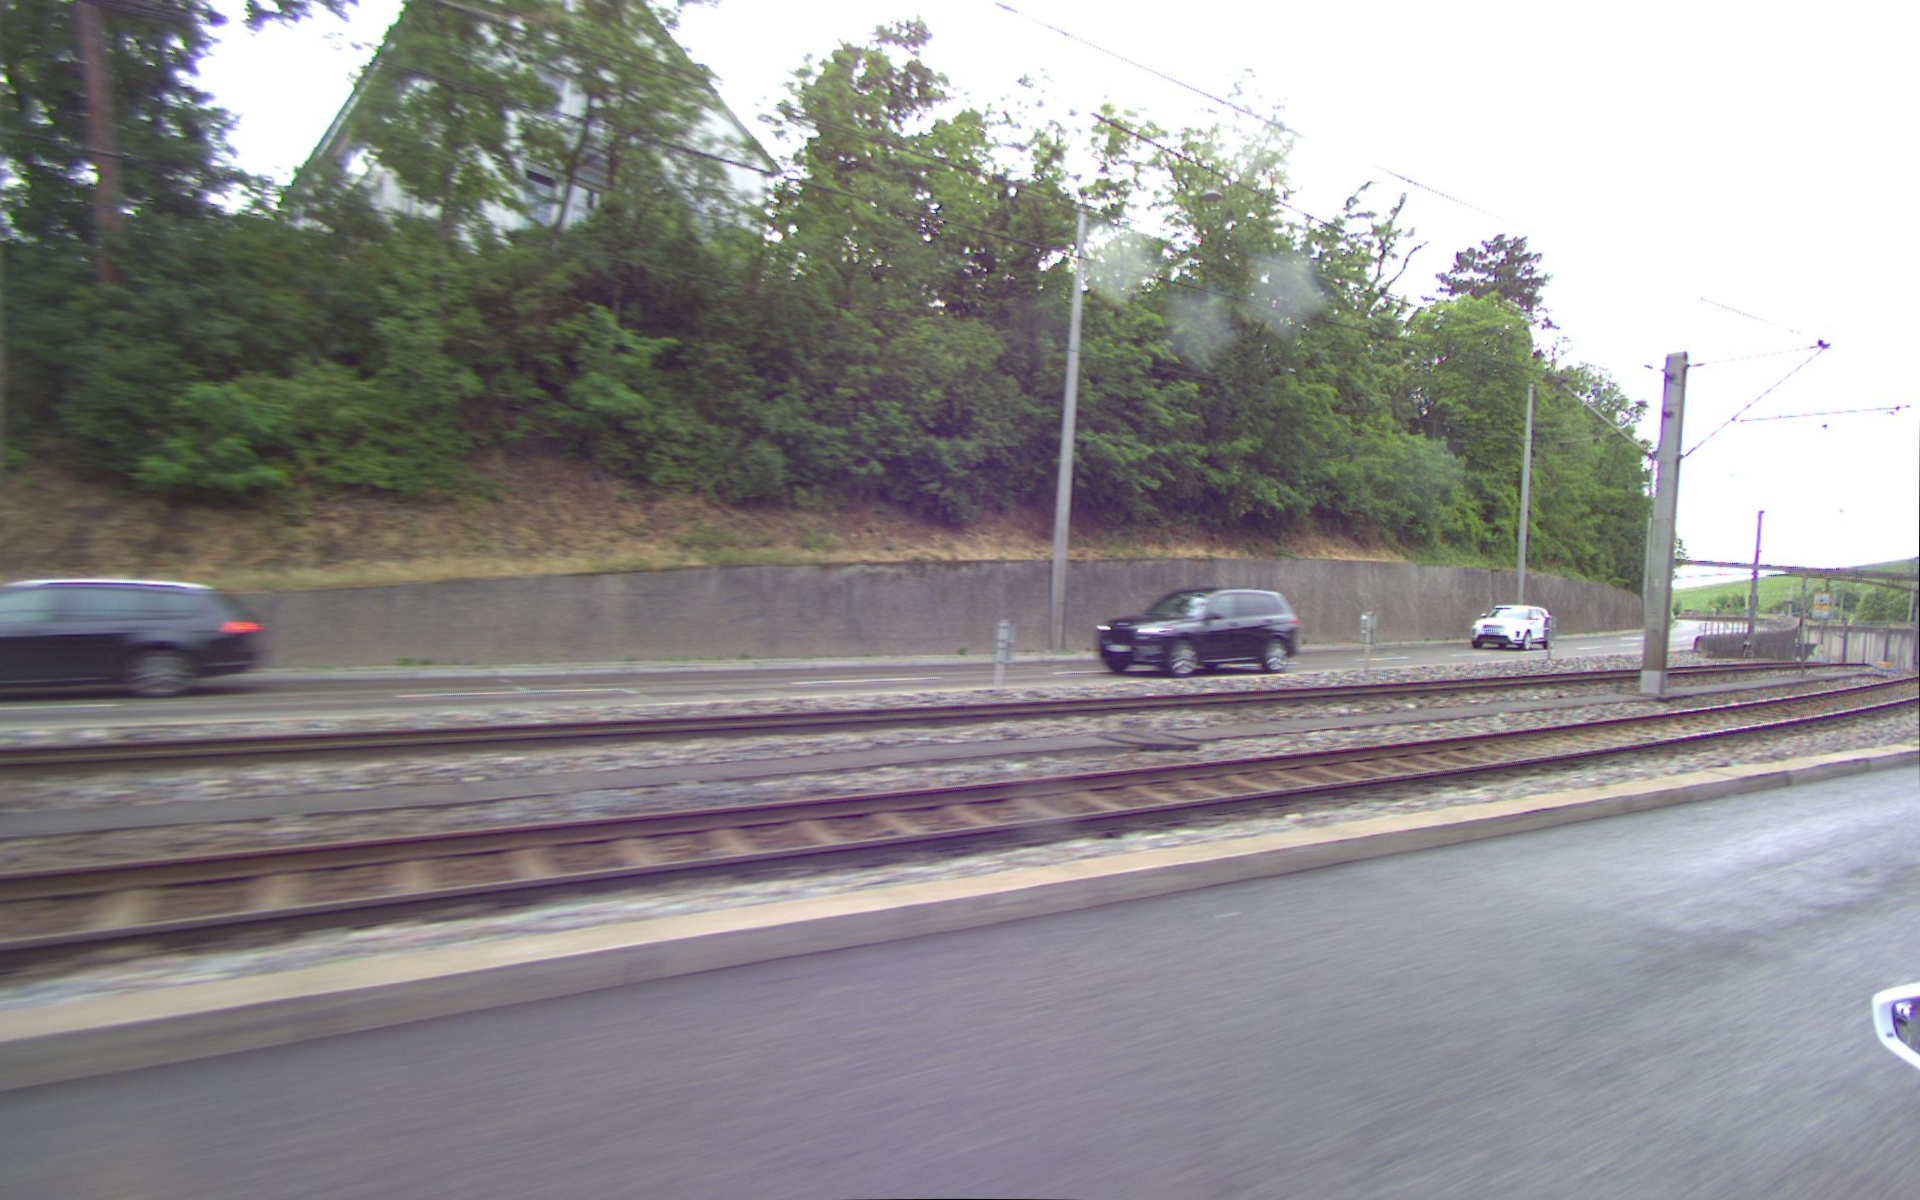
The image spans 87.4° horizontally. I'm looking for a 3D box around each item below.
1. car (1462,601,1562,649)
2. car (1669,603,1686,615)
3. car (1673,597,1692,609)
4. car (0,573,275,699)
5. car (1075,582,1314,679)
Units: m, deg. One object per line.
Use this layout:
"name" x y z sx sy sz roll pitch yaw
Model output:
"car" 21.069 0.954 38.286 4.373 1.706 1.918 2 0 -41
"car" 107.577 1.317 150.654 1.792 1.726 4.100 2 0 33
"car" 110.350 0.475 153.405 1.933 1.773 4.132 2 0 31
"car" -11.454 0.443 12.841 4.367 1.490 1.814 1 -1 -34
"car" 5.102 0.621 21.548 5.088 1.855 2.218 1 0 -37
